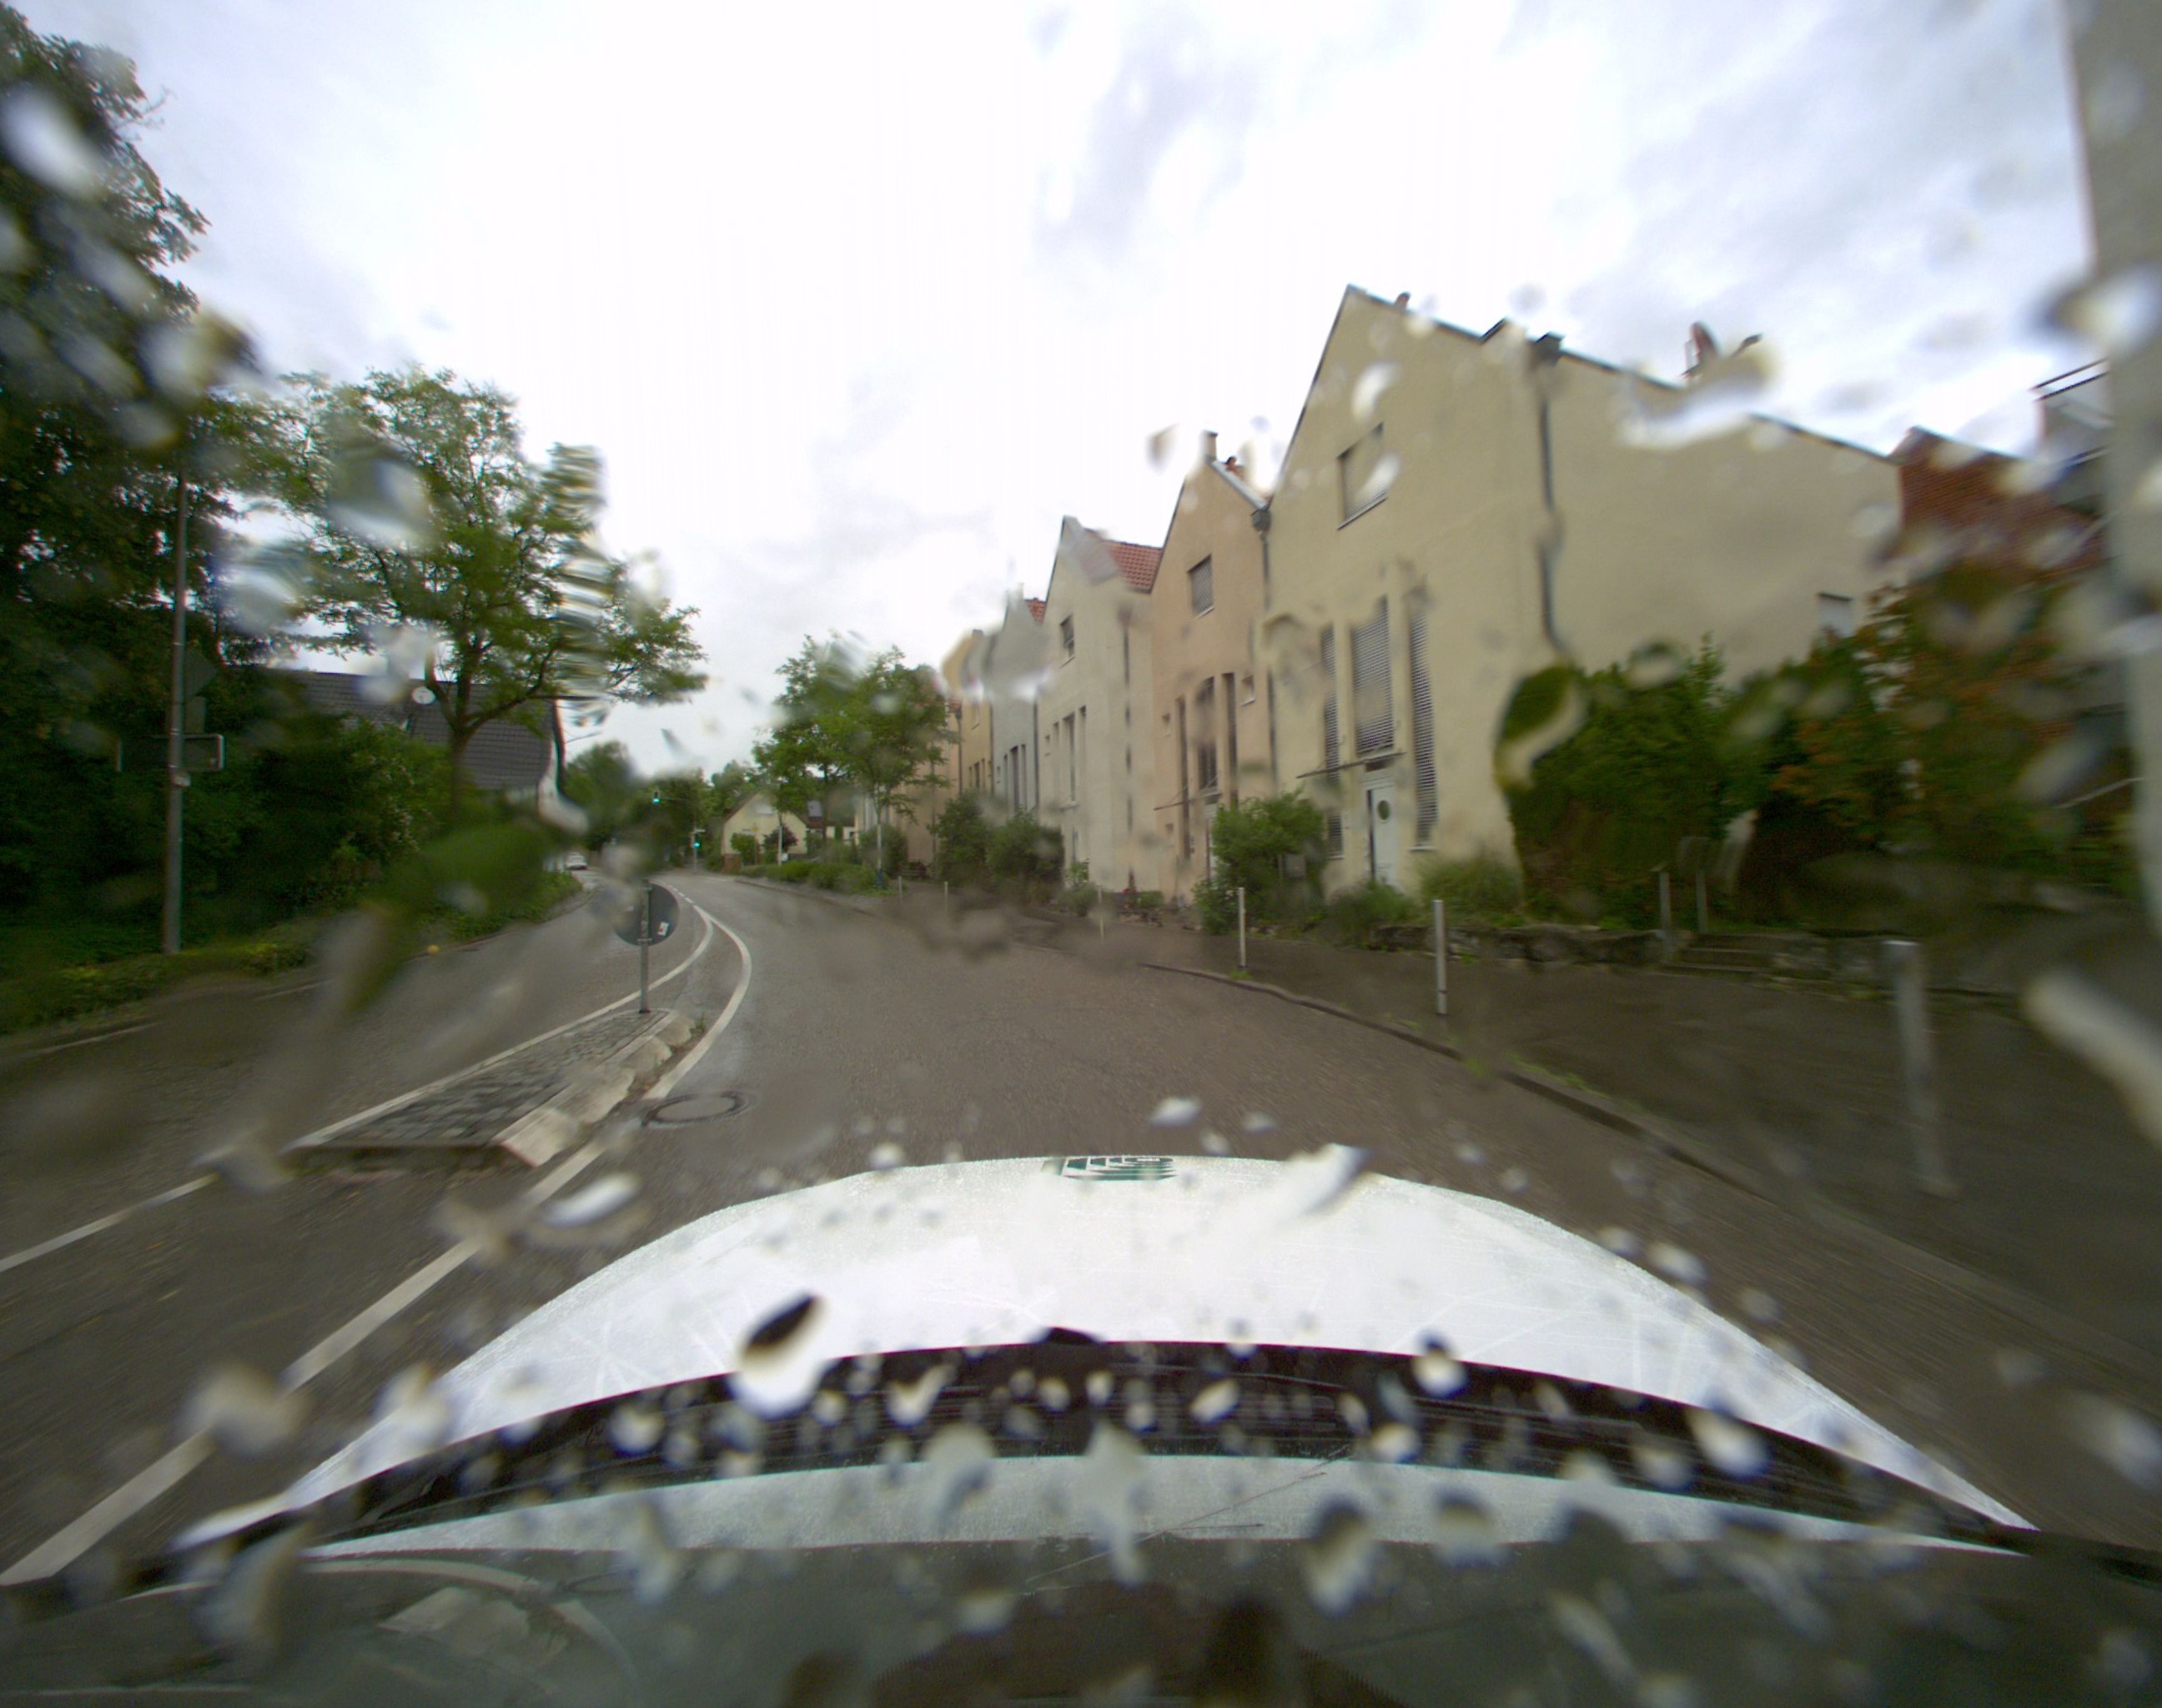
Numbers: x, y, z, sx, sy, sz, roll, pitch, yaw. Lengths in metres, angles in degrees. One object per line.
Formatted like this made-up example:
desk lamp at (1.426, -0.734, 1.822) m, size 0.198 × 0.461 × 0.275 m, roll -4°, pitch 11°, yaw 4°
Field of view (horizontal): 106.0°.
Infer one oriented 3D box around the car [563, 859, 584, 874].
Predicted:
car at (-53.496, 1.297, 85.784) m, size 1.624 × 1.480 × 3.994 m, roll 0°, pitch 0°, yaw -36°
